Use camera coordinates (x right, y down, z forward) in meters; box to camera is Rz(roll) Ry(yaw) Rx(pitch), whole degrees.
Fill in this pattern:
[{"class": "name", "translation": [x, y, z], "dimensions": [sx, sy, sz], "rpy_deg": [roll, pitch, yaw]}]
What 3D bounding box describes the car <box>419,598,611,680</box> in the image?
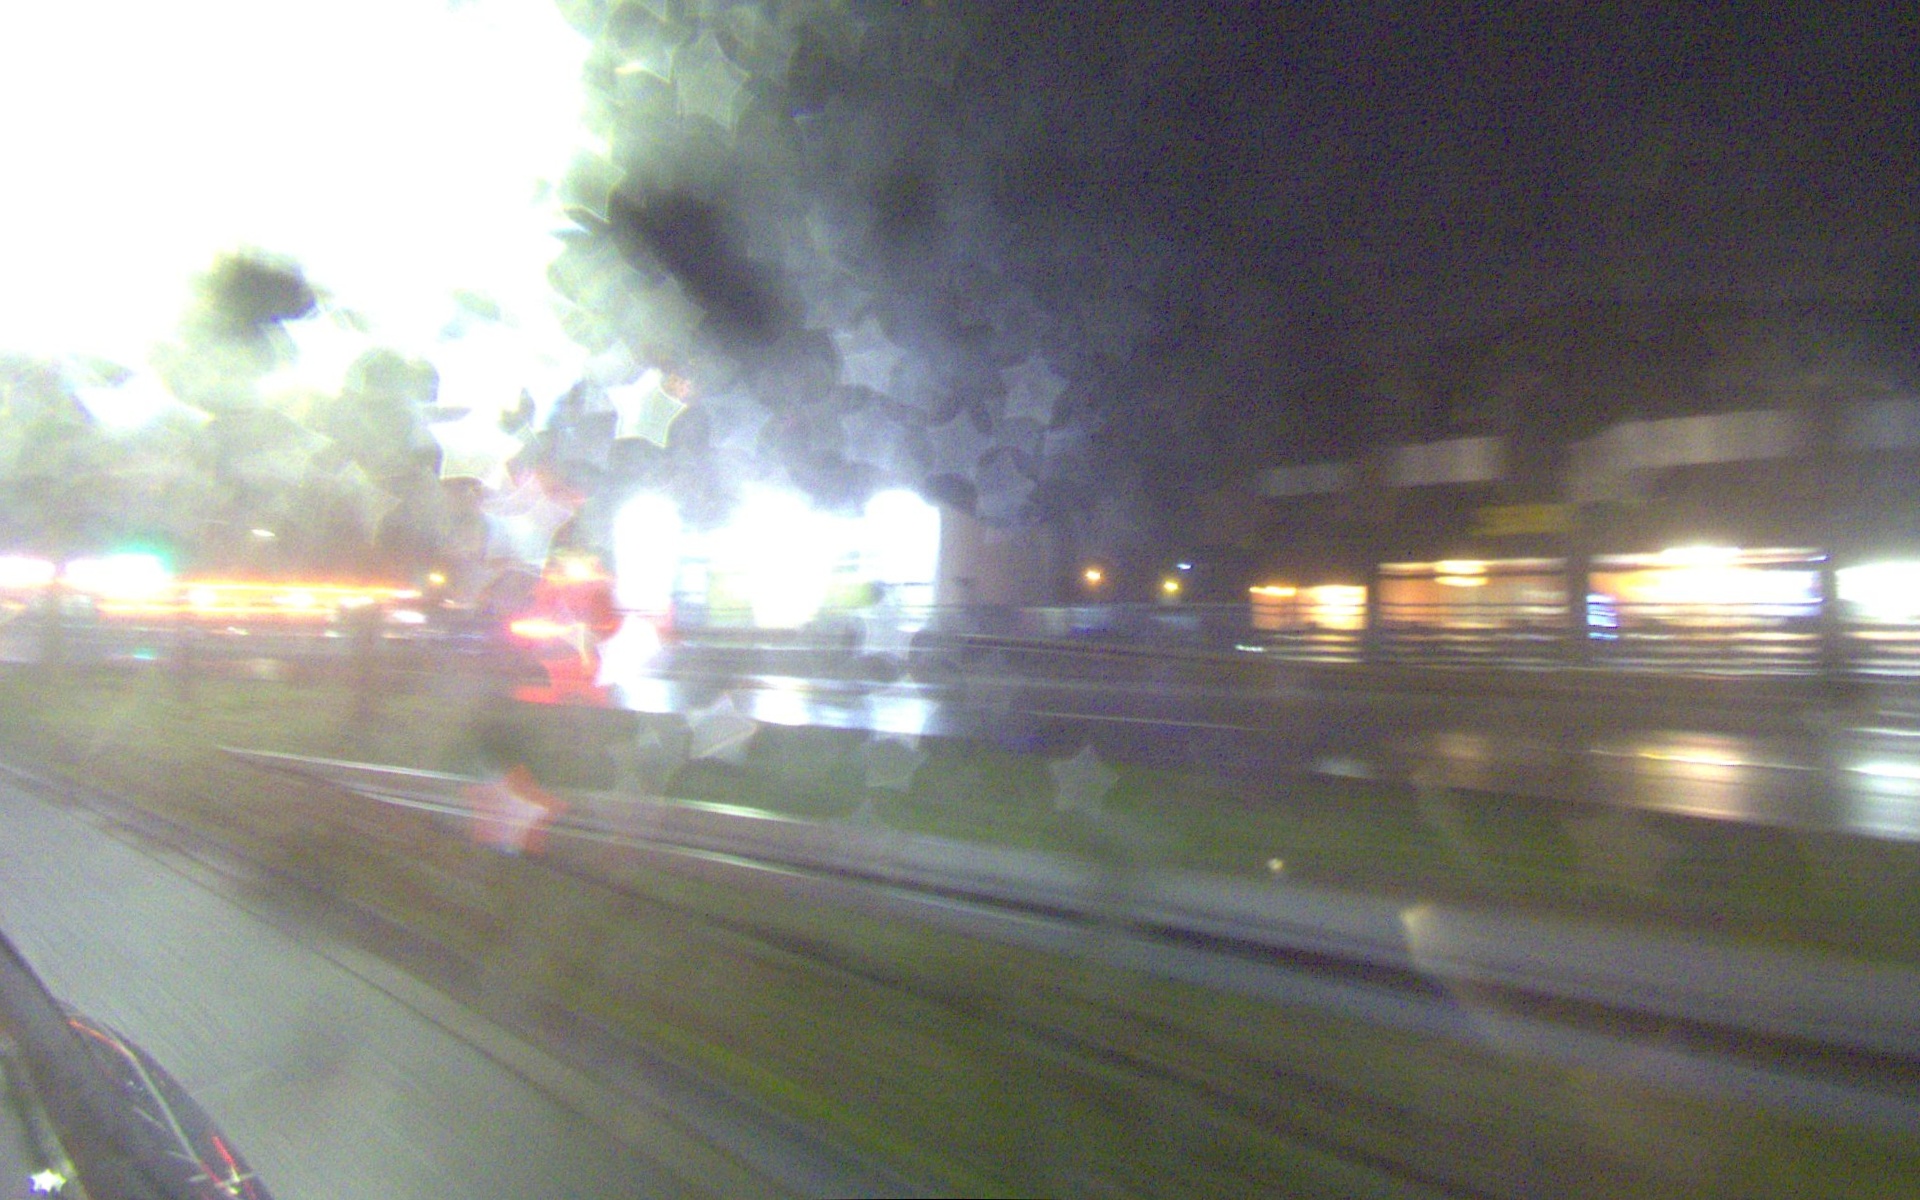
[{"class": "car", "translation": [-9.570, 0.801, 21.693], "dimensions": [3.990, 1.606, 1.977], "rpy_deg": [-1, -2, 34]}]
